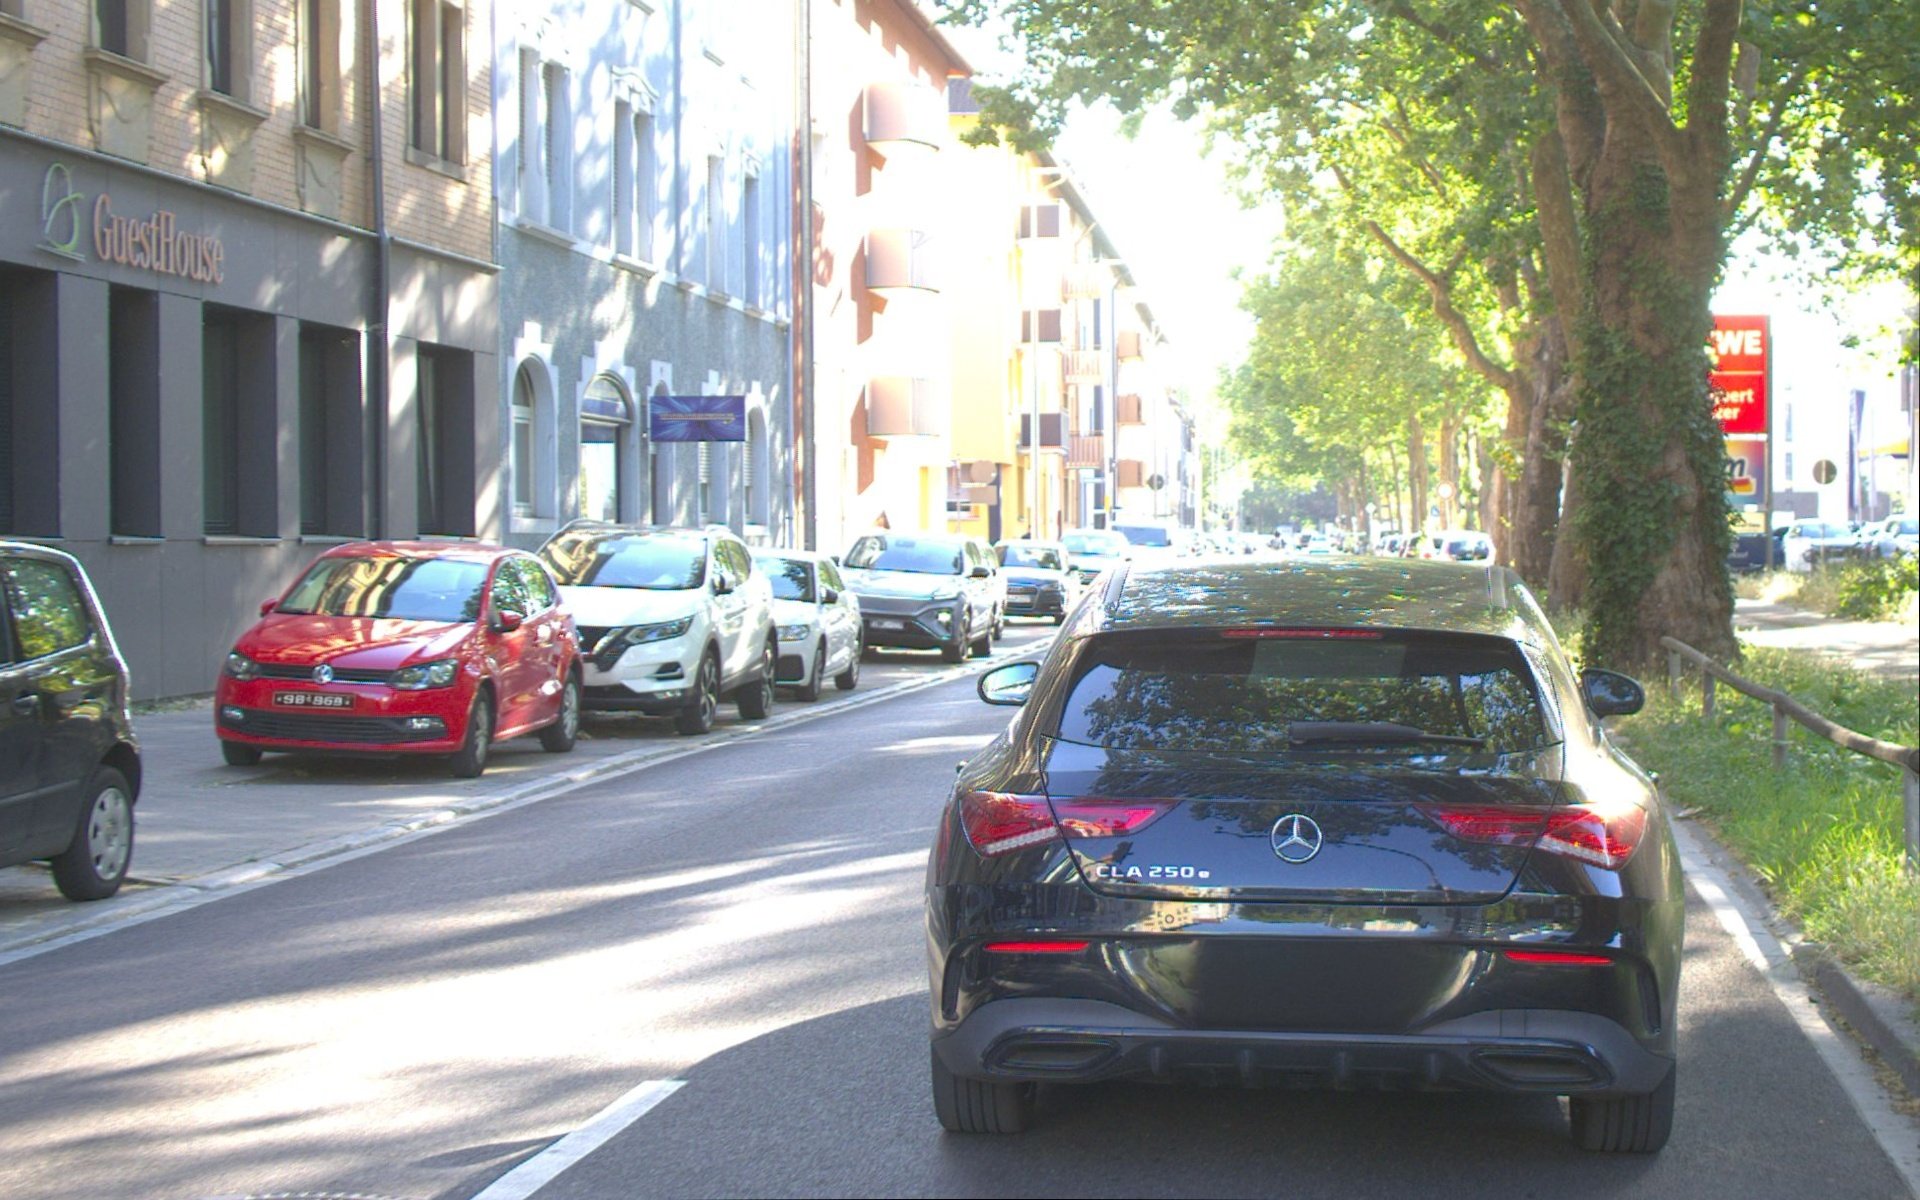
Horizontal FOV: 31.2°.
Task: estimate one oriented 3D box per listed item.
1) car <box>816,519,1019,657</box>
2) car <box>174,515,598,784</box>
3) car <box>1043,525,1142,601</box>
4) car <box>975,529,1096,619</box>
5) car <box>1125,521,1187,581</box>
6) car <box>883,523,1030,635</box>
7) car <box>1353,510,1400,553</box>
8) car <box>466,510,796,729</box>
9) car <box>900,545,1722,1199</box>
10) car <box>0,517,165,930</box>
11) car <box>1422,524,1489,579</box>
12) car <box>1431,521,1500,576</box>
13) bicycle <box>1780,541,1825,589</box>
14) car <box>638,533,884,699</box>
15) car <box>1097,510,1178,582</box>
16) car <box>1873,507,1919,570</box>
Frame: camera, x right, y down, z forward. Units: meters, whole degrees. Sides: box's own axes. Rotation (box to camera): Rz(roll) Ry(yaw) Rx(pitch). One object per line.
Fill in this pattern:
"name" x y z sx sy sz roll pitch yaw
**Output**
"car" -0.487 -0.203 44.242 1.908 1.636 4.576 1 1 8
"car" -3.671 0.253 22.635 1.678 1.586 3.755 1 1 8
"car" 2.850 -0.810 73.183 1.678 1.518 4.020 1 1 8
"car" 1.355 -0.480 60.104 1.678 1.481 3.600 1 1 8
"car" 6.068 -1.535 105.937 1.745 1.781 4.549 1 1 5
"car" -0.014 -0.357 53.048 1.678 1.636 3.983 1 1 8
"car" 20.433 -3.345 168.787 1.994 2.007 4.000 0 0 3
"car" -2.547 0.092 27.568 1.678 1.579 4.199 1 1 8
"car" 0.756 0.607 9.419 1.744 1.438 3.969 1 1 0
"car" -4.607 0.475 13.243 1.678 1.599 3.704 1 1 10
"car" 14.843 -1.454 103.049 1.811 1.533 4.582 -3 0 7
"car" 14.118 -1.437 96.160 1.635 1.463 4.020 -2 0 5
"bicycle" 18.122 -0.756 73.952 0.382 1.000 1.487 -1 1 -10
"car" -1.901 0.108 33.972 1.678 1.491 3.870 1 1 8
"car" 4.857 -1.484 93.352 1.735 1.900 5.207 1 1 8
"car" 27.213 -1.759 97.367 1.876 1.727 4.180 -1 1 4
